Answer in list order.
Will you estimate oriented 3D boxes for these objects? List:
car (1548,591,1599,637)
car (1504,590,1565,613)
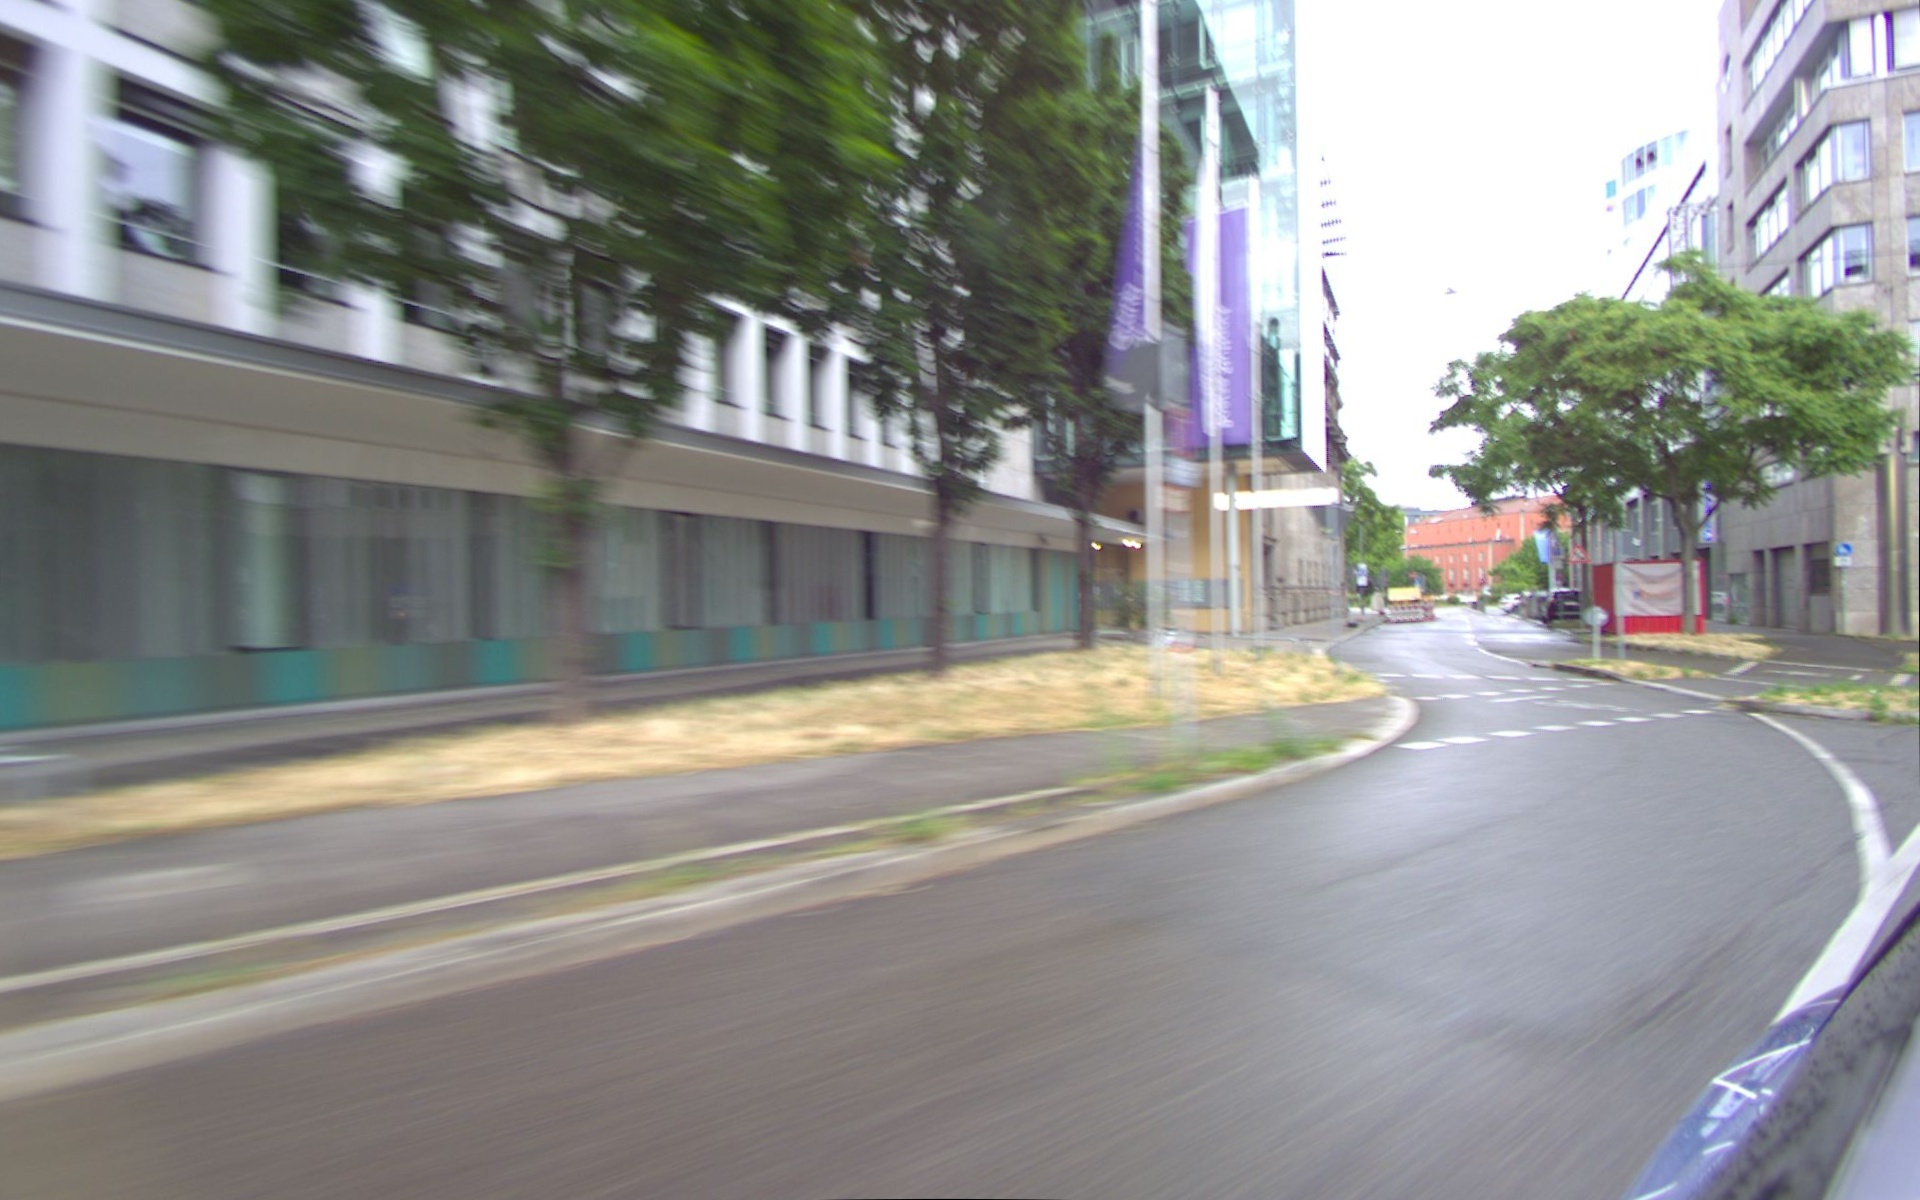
[{"bbox_3d":[29.563,0.644,48.803,1.984,2.106,3.955,-2,-1,32],"label":"car"},{"bbox_3d":[44.852,0.092,79.094,3.714,1.671,1.792,2,0,13],"label":"car"}]
